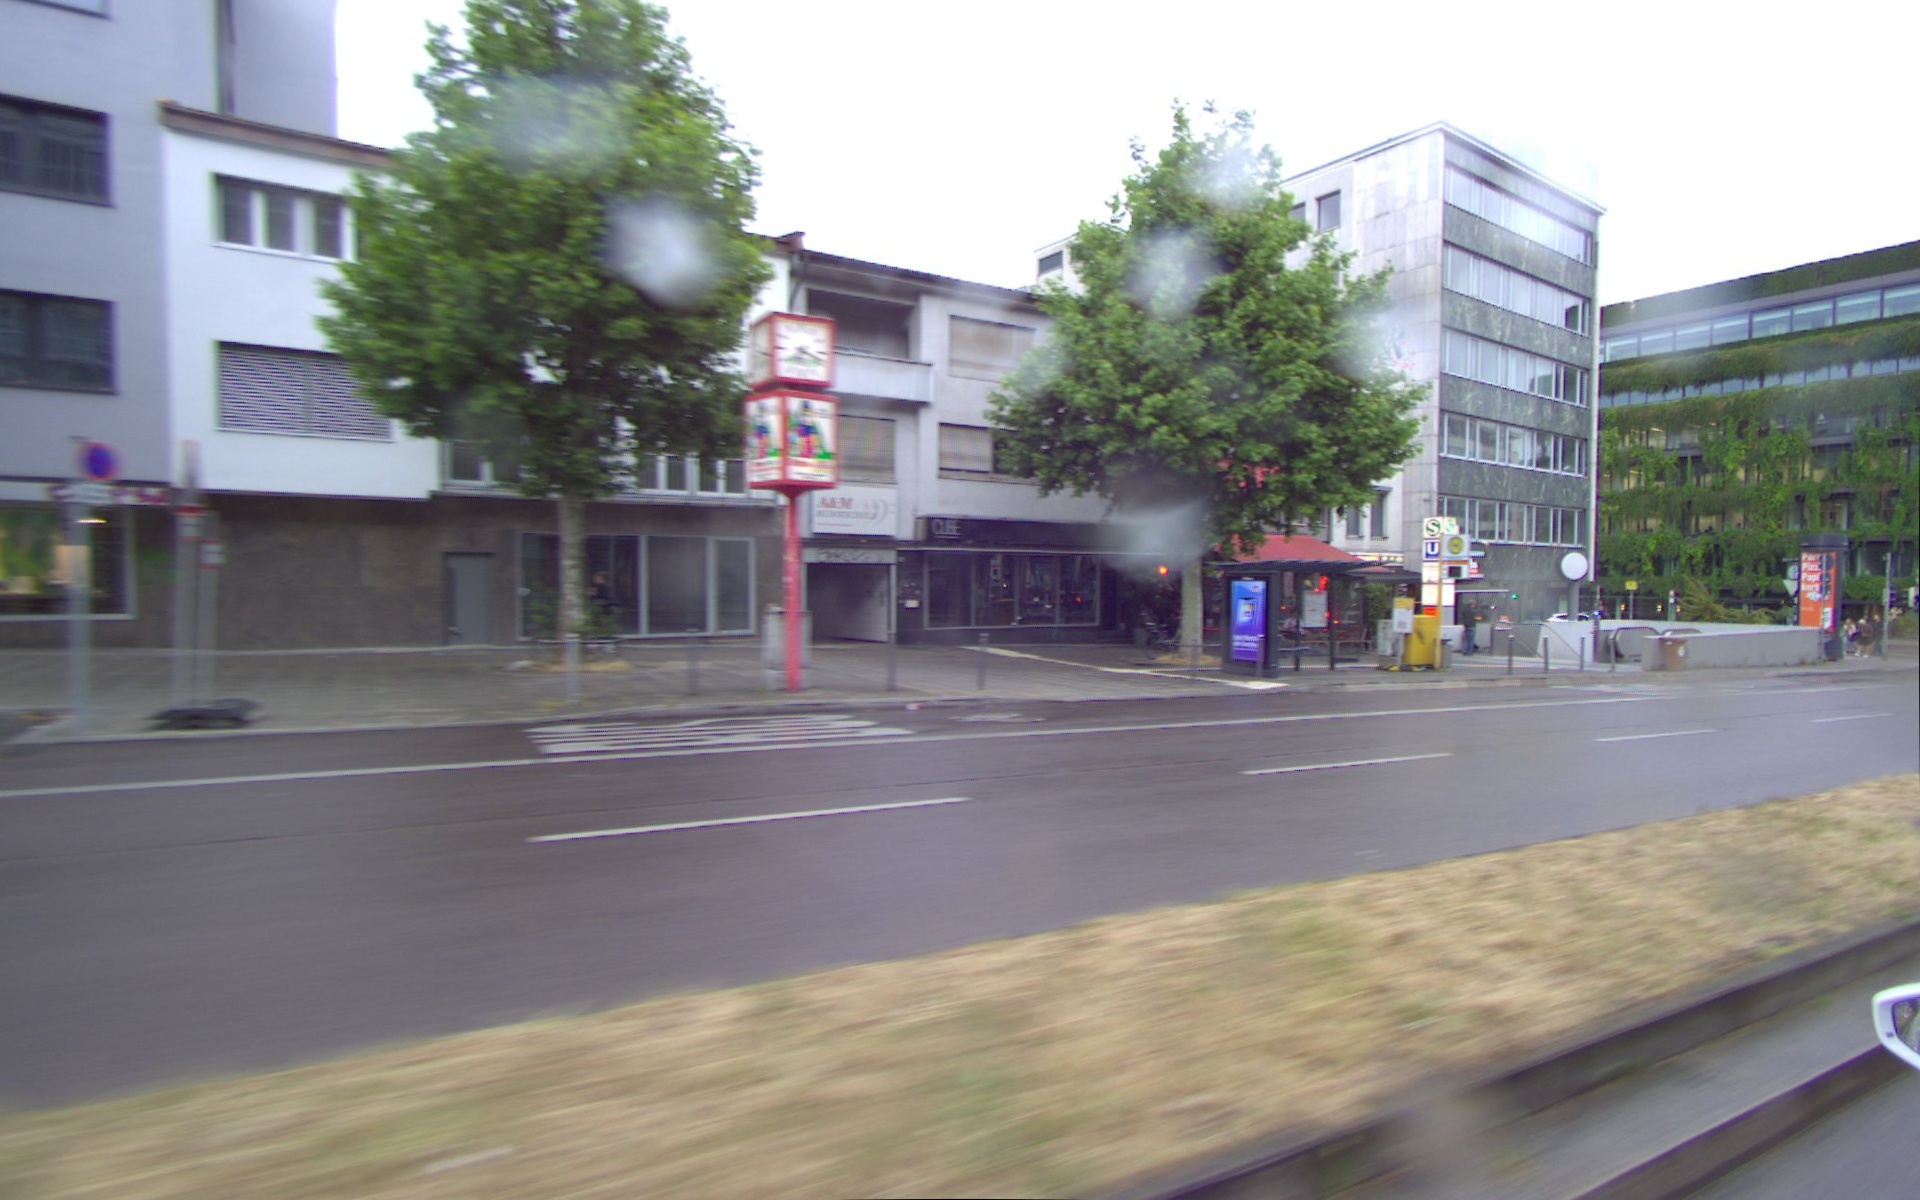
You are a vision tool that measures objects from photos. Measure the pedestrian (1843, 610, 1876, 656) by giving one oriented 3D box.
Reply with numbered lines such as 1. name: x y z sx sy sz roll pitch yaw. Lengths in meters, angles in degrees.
1. pedestrian: 38.188 1.414 42.638 0.858 1.909 0.800 1 -4 -36

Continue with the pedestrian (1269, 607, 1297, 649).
1. pedestrian: 11.441 0.978 35.564 0.685 1.470 0.628 1 0 -36

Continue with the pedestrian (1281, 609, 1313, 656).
1. pedestrian: 10.825 1.040 32.291 0.700 1.470 0.685 1 0 -34

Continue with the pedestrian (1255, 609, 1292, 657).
1. pedestrian: 9.868 1.026 31.612 0.905 1.470 0.685 1 0 -34

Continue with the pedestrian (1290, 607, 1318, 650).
1. pedestrian: 11.936 0.978 34.817 0.685 1.470 0.628 1 0 -36

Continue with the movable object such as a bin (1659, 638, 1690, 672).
1. movable object such as a bin: 19.590 1.501 27.540 0.677 0.909 0.527 1 -2 -39

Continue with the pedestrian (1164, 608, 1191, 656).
1. pedestrian: 7.235 1.052 33.416 0.600 1.591 0.591 1 0 -40

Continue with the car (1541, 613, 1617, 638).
1. car: 39.963 1.617 64.882 1.858 1.543 3.856 1 0 -42

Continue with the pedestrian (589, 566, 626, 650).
1. pedestrian: -7.617 0.181 21.678 0.644 1.786 0.693 1 0 -27

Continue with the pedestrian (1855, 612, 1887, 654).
1. pedestrian: 42.380 1.539 46.729 0.888 1.909 0.780 1 -4 -33

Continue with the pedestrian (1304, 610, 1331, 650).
1. pedestrian: 12.591 1.048 35.383 0.685 1.362 0.628 1 0 -36

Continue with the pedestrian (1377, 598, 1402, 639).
1. pedestrian: 15.848 0.681 37.047 0.582 1.470 0.598 1 0 -35

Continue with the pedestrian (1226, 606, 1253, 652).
1. pedestrian: 9.280 0.955 33.358 0.541 1.470 0.685 1 0 -34

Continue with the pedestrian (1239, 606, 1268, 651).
1. pedestrian: 9.840 0.943 33.661 0.577 1.470 0.685 1 0 -33

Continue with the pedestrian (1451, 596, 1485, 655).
1. pedestrian: 16.562 0.823 32.763 0.750 1.910 0.685 1 0 -34

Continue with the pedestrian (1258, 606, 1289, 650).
1. pedestrian: 10.687 0.951 34.261 0.685 1.470 0.721 1 0 -36

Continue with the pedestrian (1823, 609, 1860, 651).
1. pedestrian: 40.695 1.384 46.355 0.868 1.878 1.015 1 -4 -34

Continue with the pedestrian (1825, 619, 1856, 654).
1. pedestrian: 41.714 1.719 47.579 0.913 1.606 0.827 1 -4 -33
